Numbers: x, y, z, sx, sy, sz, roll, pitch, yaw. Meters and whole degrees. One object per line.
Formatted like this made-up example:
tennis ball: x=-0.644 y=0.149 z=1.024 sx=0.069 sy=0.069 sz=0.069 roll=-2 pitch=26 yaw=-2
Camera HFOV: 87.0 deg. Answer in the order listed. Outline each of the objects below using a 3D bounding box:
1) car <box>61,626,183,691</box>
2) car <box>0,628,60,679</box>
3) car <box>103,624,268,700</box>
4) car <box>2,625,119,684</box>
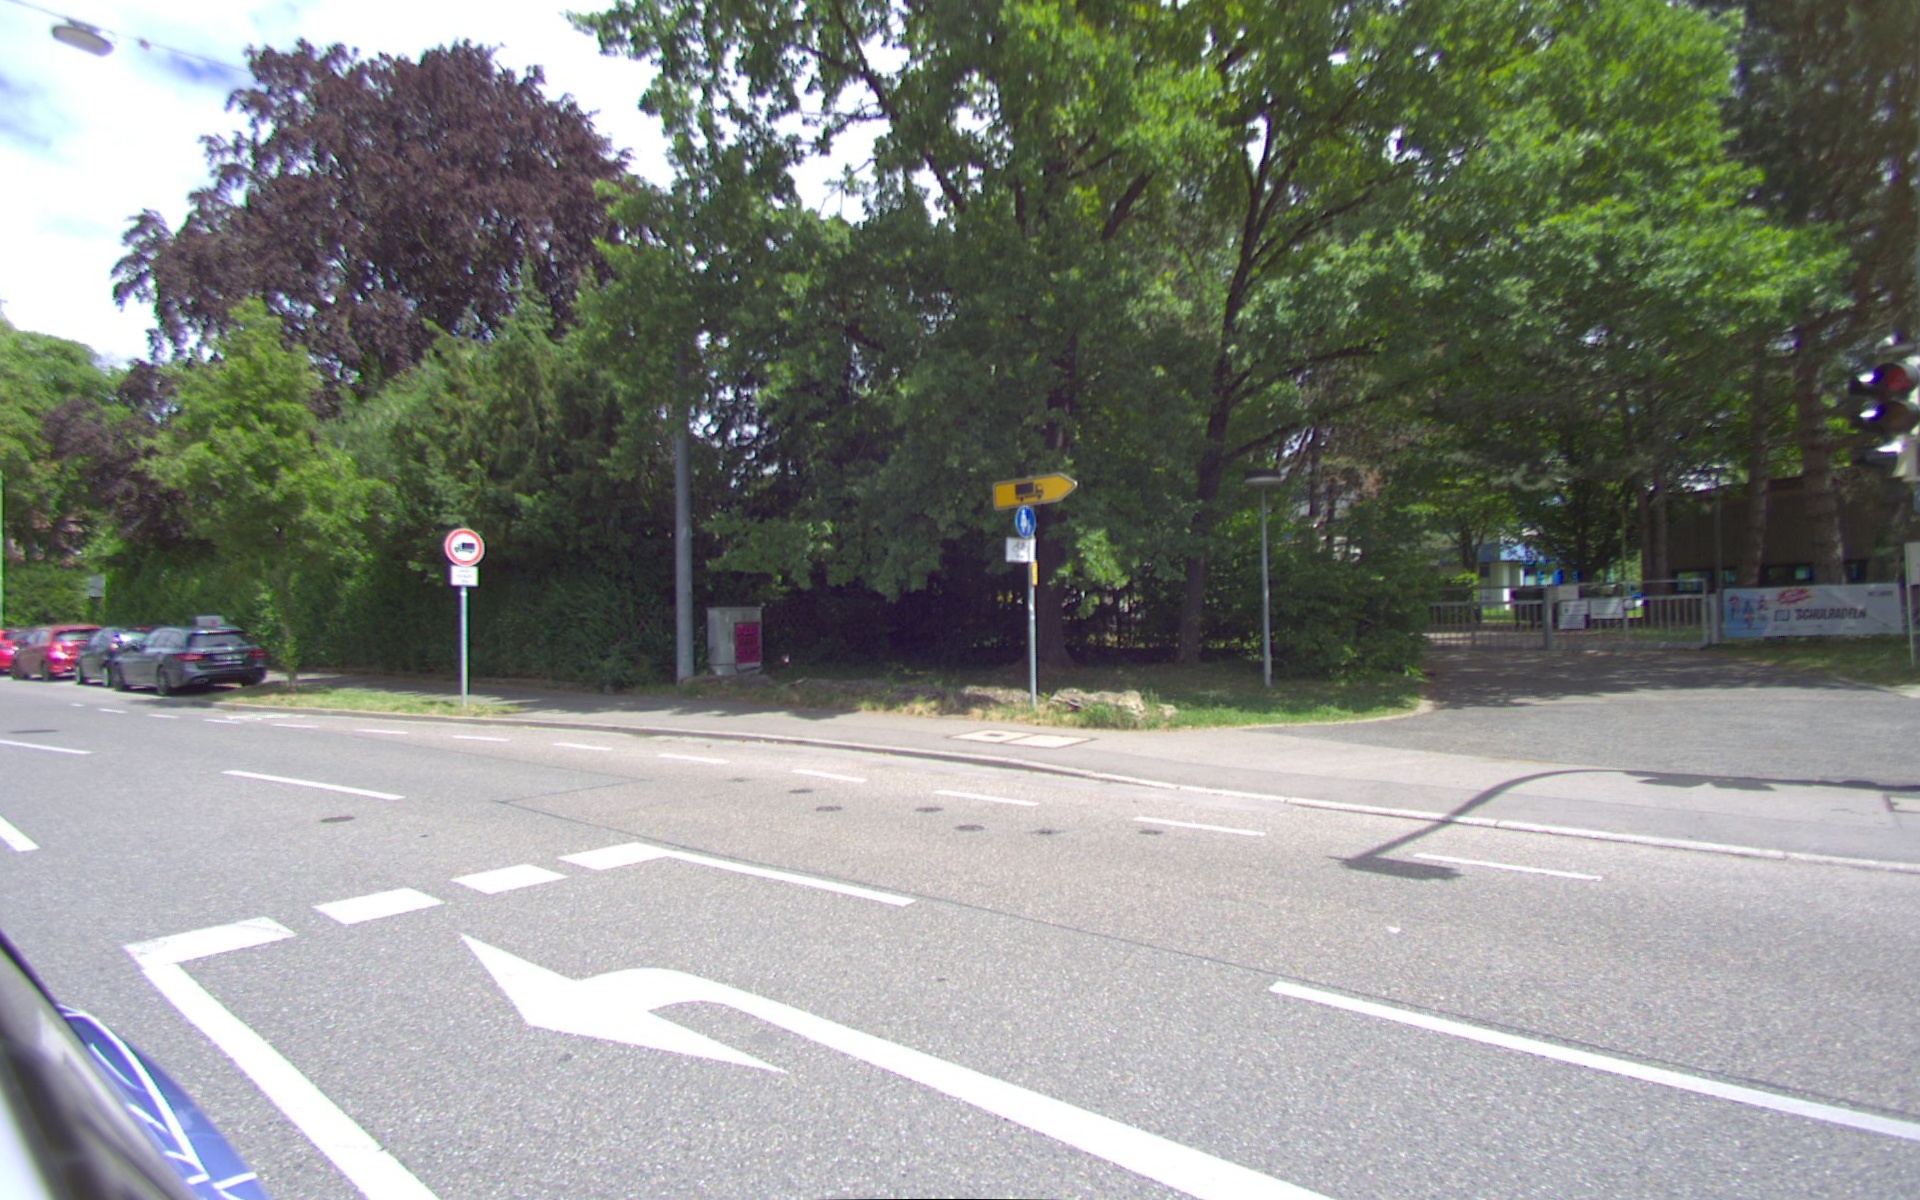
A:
car: x=-20.815 y=1.400 z=25.125 sx=3.186 sy=1.422 sz=1.541 roll=-1 pitch=1 yaw=35
car: x=-28.864 y=1.591 z=30.663 sx=3.364 sy=1.377 sz=1.514 roll=-1 pitch=1 yaw=32
car: x=-17.211 y=1.304 z=22.440 sx=4.392 sy=1.426 sz=1.668 roll=0 pitch=1 yaw=35
car: x=-24.616 y=1.451 z=27.675 sx=3.314 sy=1.489 sz=1.507 roll=-1 pitch=0 yaw=32
